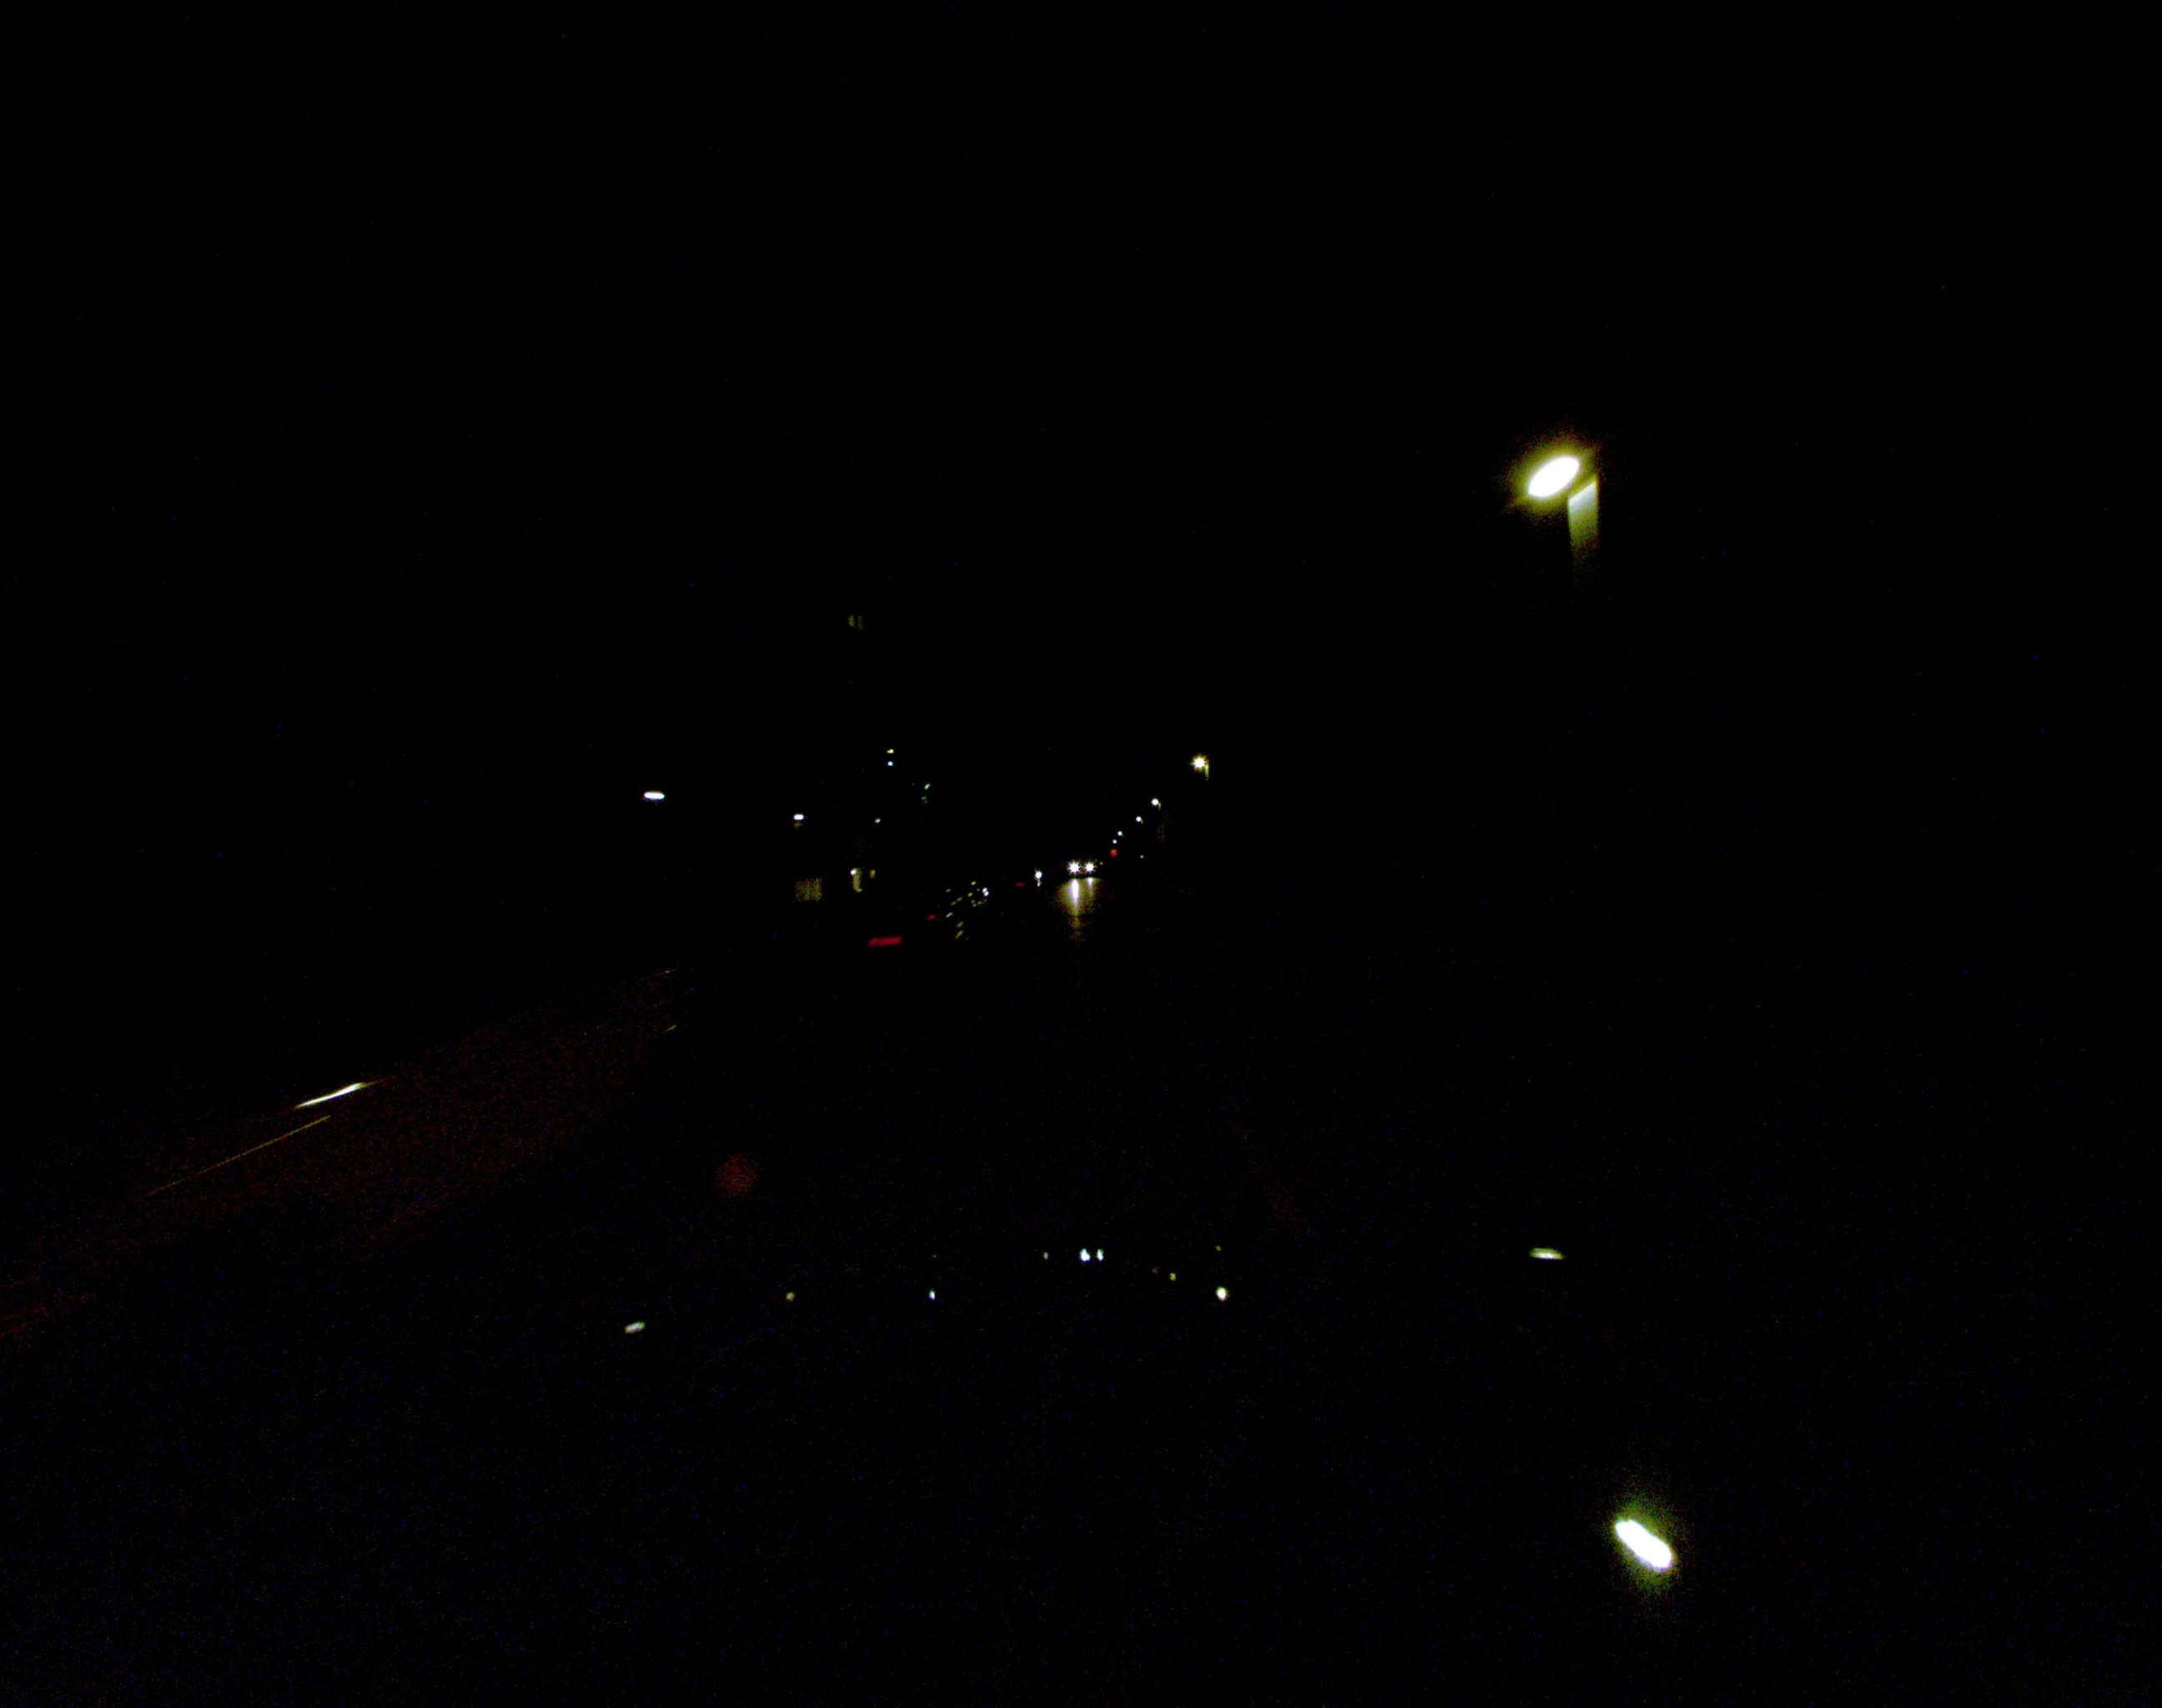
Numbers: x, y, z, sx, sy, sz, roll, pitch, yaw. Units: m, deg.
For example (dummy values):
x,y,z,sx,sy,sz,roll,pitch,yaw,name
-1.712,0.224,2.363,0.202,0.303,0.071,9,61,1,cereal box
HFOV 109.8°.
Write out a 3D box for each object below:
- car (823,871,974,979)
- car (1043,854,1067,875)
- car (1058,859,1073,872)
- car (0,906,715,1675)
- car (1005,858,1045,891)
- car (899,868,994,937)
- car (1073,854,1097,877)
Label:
x,y,z,sx,sy,sz,roll,pitch,yaw,name
-2.976,1.091,13.228,1.681,1.439,3.999,-2,0,-1,car
-2.033,0.806,60.061,1.702,1.447,3.713,-3,0,-1,car
-1.833,1.324,90.221,1.702,1.447,3.713,-3,0,-1,car
-3.205,1.108,2.923,1.642,1.458,3.776,-3,0,1,car
-2.708,0.963,37.318,1.656,1.465,3.517,-3,0,-1,car
-3.176,1.103,18.565,1.604,1.390,3.517,-3,0,1,car
0.269,0.791,54.493,1.627,1.496,3.549,-3,0,-1,car
